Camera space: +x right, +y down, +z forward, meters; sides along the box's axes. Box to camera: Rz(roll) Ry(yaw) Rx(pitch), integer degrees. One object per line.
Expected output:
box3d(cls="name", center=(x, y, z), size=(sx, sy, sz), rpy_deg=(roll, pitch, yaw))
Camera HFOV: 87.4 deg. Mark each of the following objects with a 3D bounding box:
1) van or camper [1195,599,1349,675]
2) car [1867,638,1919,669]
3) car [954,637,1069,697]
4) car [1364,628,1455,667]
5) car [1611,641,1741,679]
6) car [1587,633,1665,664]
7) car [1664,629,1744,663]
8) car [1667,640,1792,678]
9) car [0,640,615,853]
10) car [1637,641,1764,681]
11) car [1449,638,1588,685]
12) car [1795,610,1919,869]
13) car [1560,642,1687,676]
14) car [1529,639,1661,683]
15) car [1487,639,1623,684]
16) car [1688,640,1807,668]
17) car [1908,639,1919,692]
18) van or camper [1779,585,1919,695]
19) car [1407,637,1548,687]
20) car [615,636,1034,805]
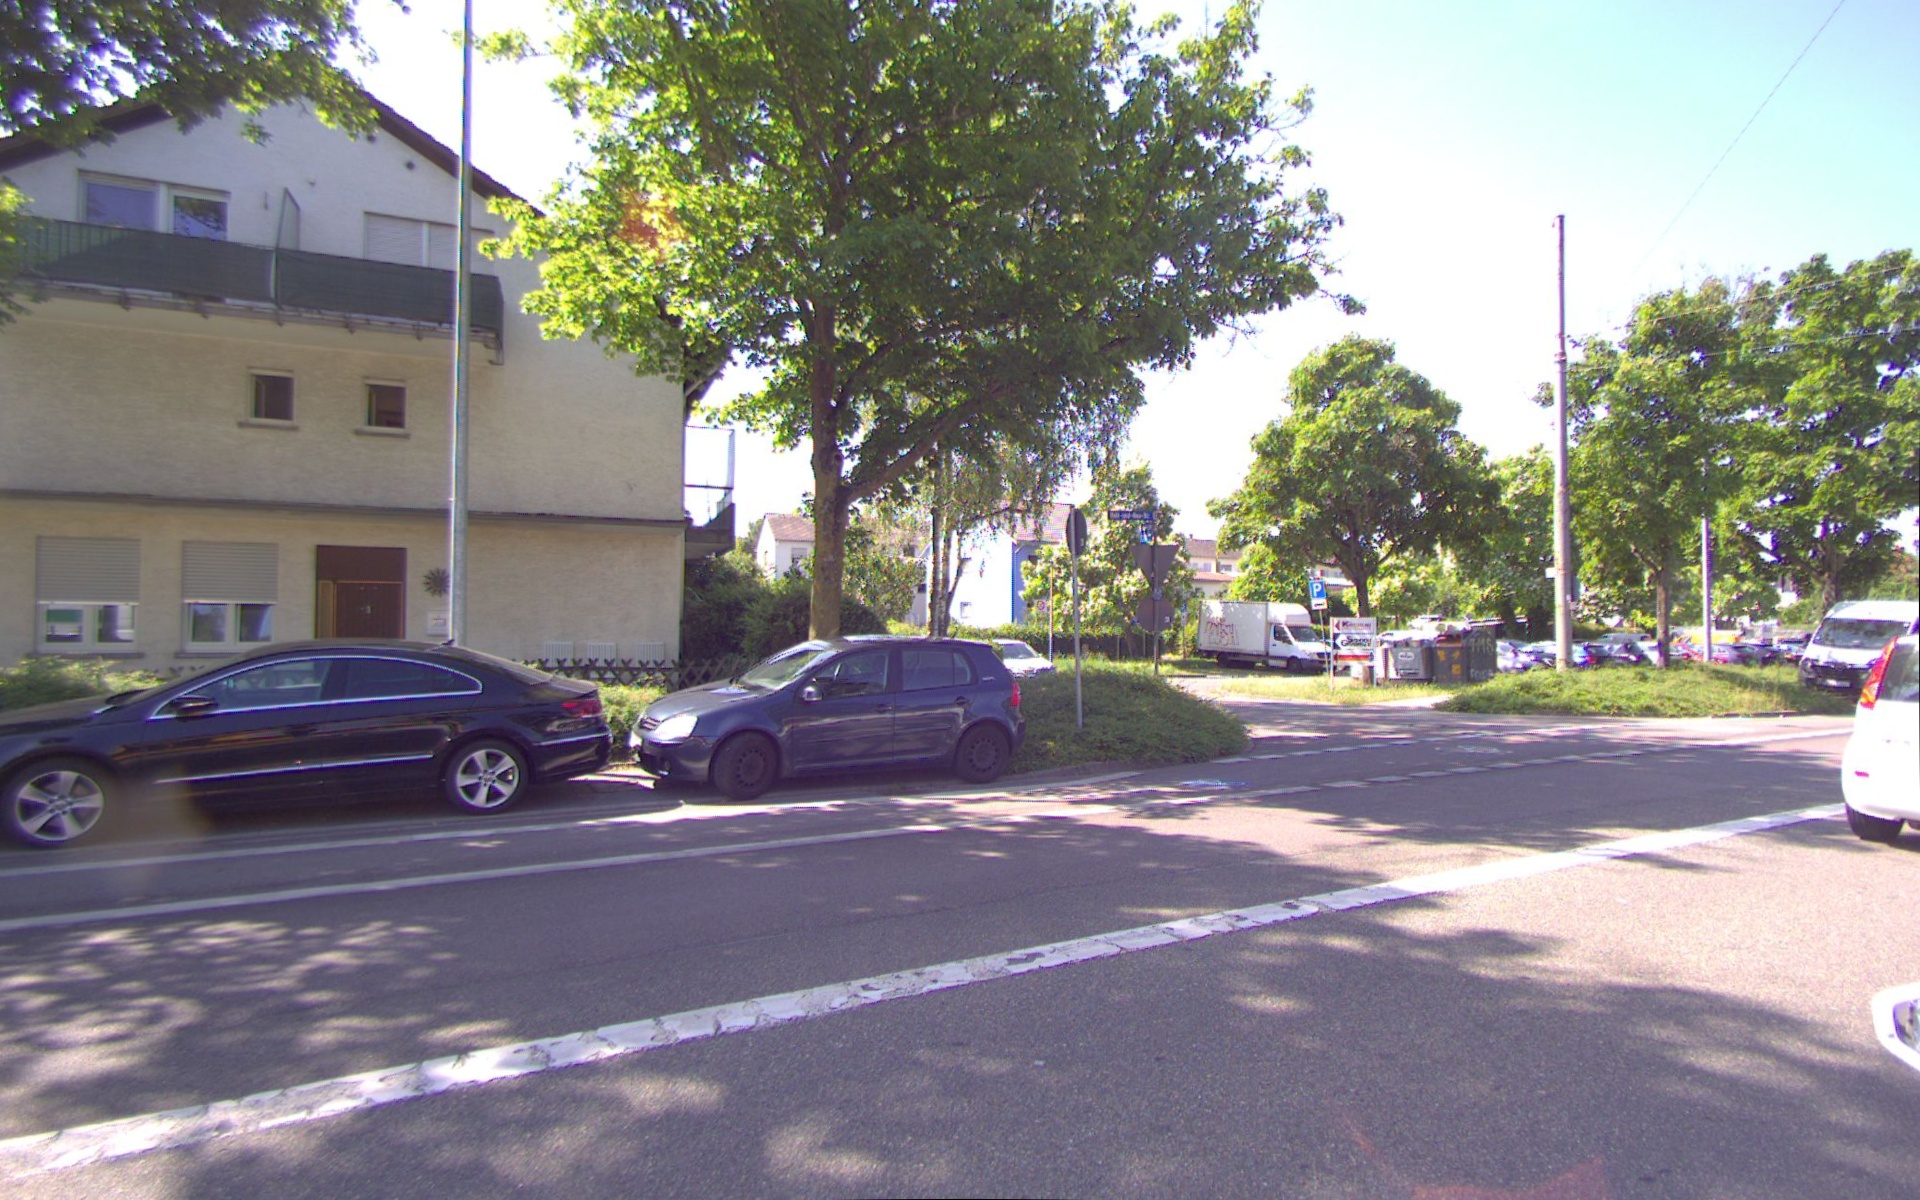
box3d(cls="van or camper", center=(14.356, 1.654, 46.812), size=(2.553, 3.287, 6.914), rpy_deg=(1, -1, -31))
box3d(cls="car", center=(53.693, 2.976, 56.289), size=(1.645, 1.716, 3.967), rpy_deg=(2, -3, -31))
box3d(cls="car", center=(1.374, 1.837, 28.499), size=(1.781, 1.545, 3.981), rpy_deg=(0, -2, -21))
box3d(cls="car", center=(22.938, 2.390, 51.388), size=(1.766, 1.915, 3.965), rpy_deg=(1, -2, -33))
box3d(cls="car", center=(28.893, 2.385, 40.648), size=(1.712, 1.428, 3.969), rpy_deg=(1, -2, -30))
box3d(cls="car", center=(45.121, 3.246, 68.111), size=(1.890, 2.029, 3.965), rpy_deg=(1, -2, -33))
box3d(cls="car", center=(50.611, 3.104, 68.352), size=(1.890, 2.229, 3.965), rpy_deg=(1, -2, -33))
box3d(cls="car", center=(33.249, 2.521, 43.505), size=(1.644, 1.564, 3.969), rpy_deg=(2, -3, -30))
box3d(cls="car", center=(-5.346, 1.041, 8.281), size=(4.525, 1.413, 1.690), rpy_deg=(1, -2, -29))
box3d(cls="car", center=(30.917, 2.512, 42.063), size=(1.644, 1.564, 3.969), rpy_deg=(1, -3, -30))
box3d(cls="car", center=(19.512, 2.124, 35.255), size=(1.645, 1.564, 3.967), rpy_deg=(2, -3, -31))
box3d(cls="car", center=(7.832, 0.912, 7.078), size=(3.963, 1.617, 1.723), rpy_deg=(1, -1, -30))
box3d(cls="car", center=(26.225, 2.314, 39.804), size=(1.644, 1.287, 3.898), rpy_deg=(2, -3, -30))
box3d(cls="car", center=(24.281, 2.303, 38.554), size=(1.644, 1.564, 3.969), rpy_deg=(2, -3, -30))
box3d(cls="car", center=(21.638, 2.208, 36.683), size=(1.645, 1.564, 3.967), rpy_deg=(2, -3, -31))
box3d(cls="car", center=(35.037, 2.392, 44.775), size=(1.644, 1.169, 3.871), rpy_deg=(2, -3, -30))
box3d(cls="car", center=(29.284, 1.866, 28.690), size=(4.828, 1.474, 1.923), rpy_deg=(1, -2, -30))
box3d(cls="van or camper", center=(23.807, 1.032, 25.732), size=(6.071, 2.547, 2.248), rpy_deg=(1, -2, -29))
box3d(cls="car", center=(17.339, 2.052, 33.846), size=(1.645, 1.564, 3.967), rpy_deg=(2, -3, -31))
box3d(cls="car", center=(-1.350, 1.117, 10.454), size=(4.033, 1.470, 1.609), rpy_deg=(1, -2, -29))
